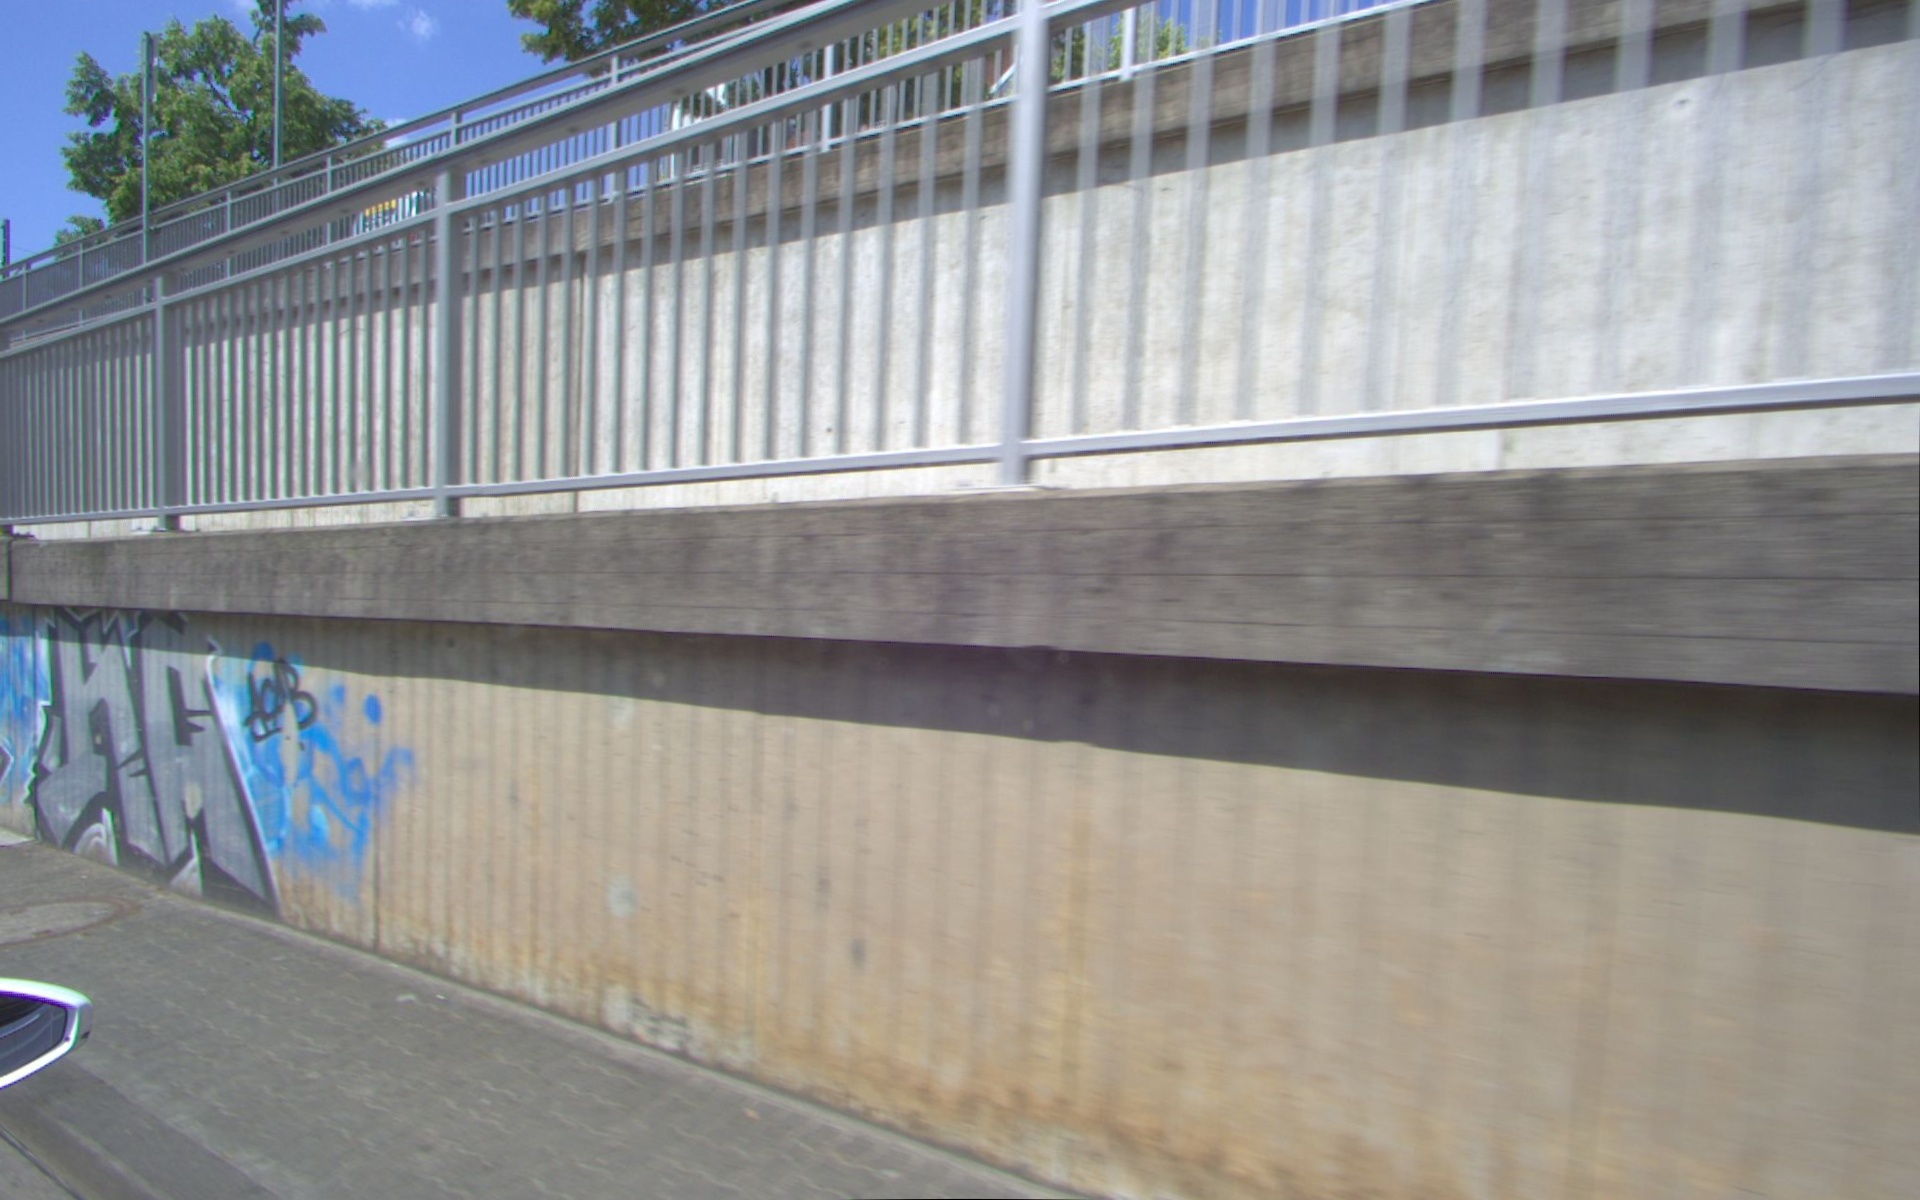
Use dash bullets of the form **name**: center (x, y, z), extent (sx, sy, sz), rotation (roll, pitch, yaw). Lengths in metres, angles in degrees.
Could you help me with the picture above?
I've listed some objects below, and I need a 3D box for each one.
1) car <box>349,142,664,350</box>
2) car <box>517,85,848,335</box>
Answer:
- **car**: center (-6.593, -5.065, 14.964), extent (1.746, 1.505, 3.976), rotation (0, -1, 35)
- **car**: center (-3.429, -4.815, 13.046), extent (1.746, 1.505, 3.976), rotation (0, -1, 35)
